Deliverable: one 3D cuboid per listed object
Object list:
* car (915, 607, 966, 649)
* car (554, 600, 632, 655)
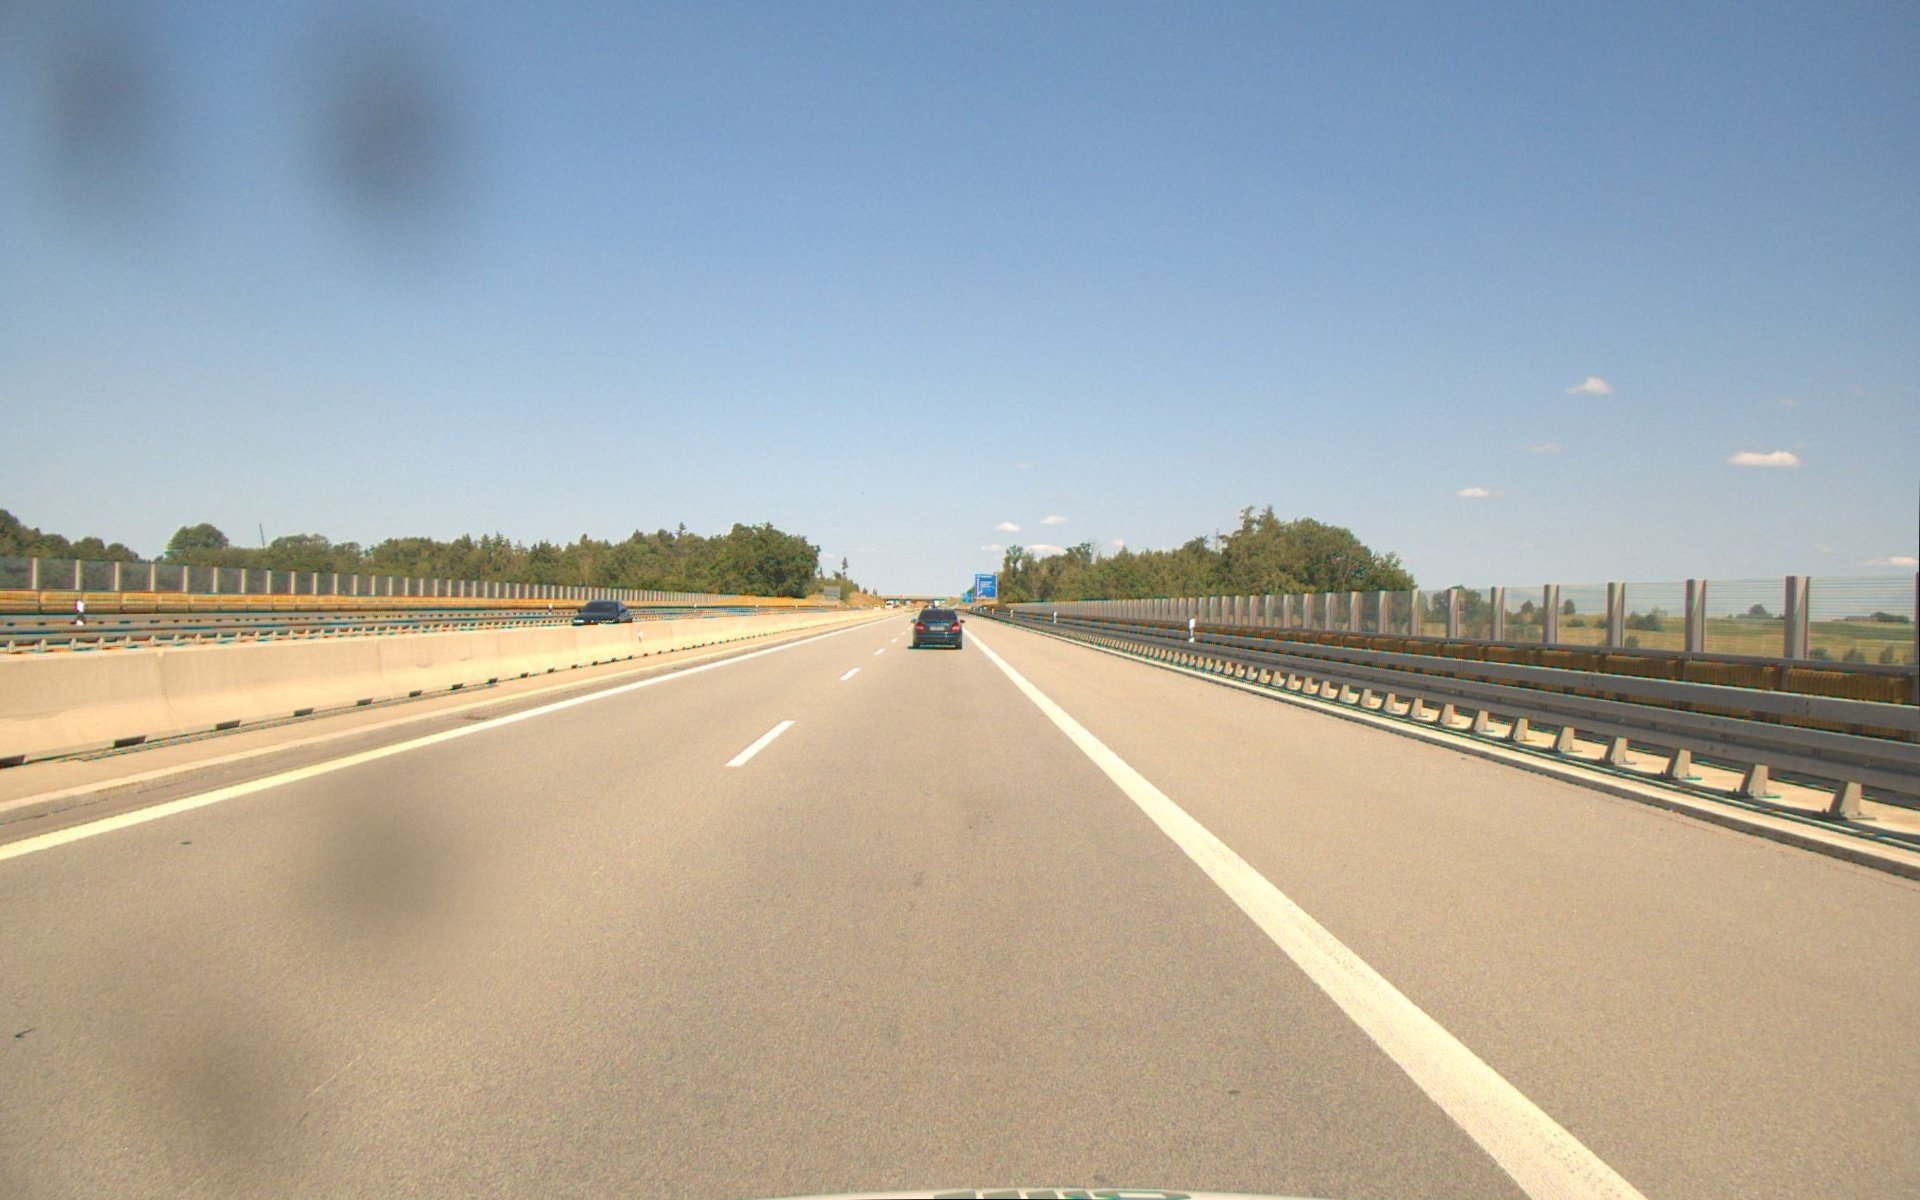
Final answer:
[{"bbox_3d":[-0.682,0.973,58.533,1.753,1.398,3.916,0,0,0],"label":"car"},{"bbox_3d":[-14.292,1.039,64.664,1.952,2.049,4.761,0,0,0],"label":"car"}]
